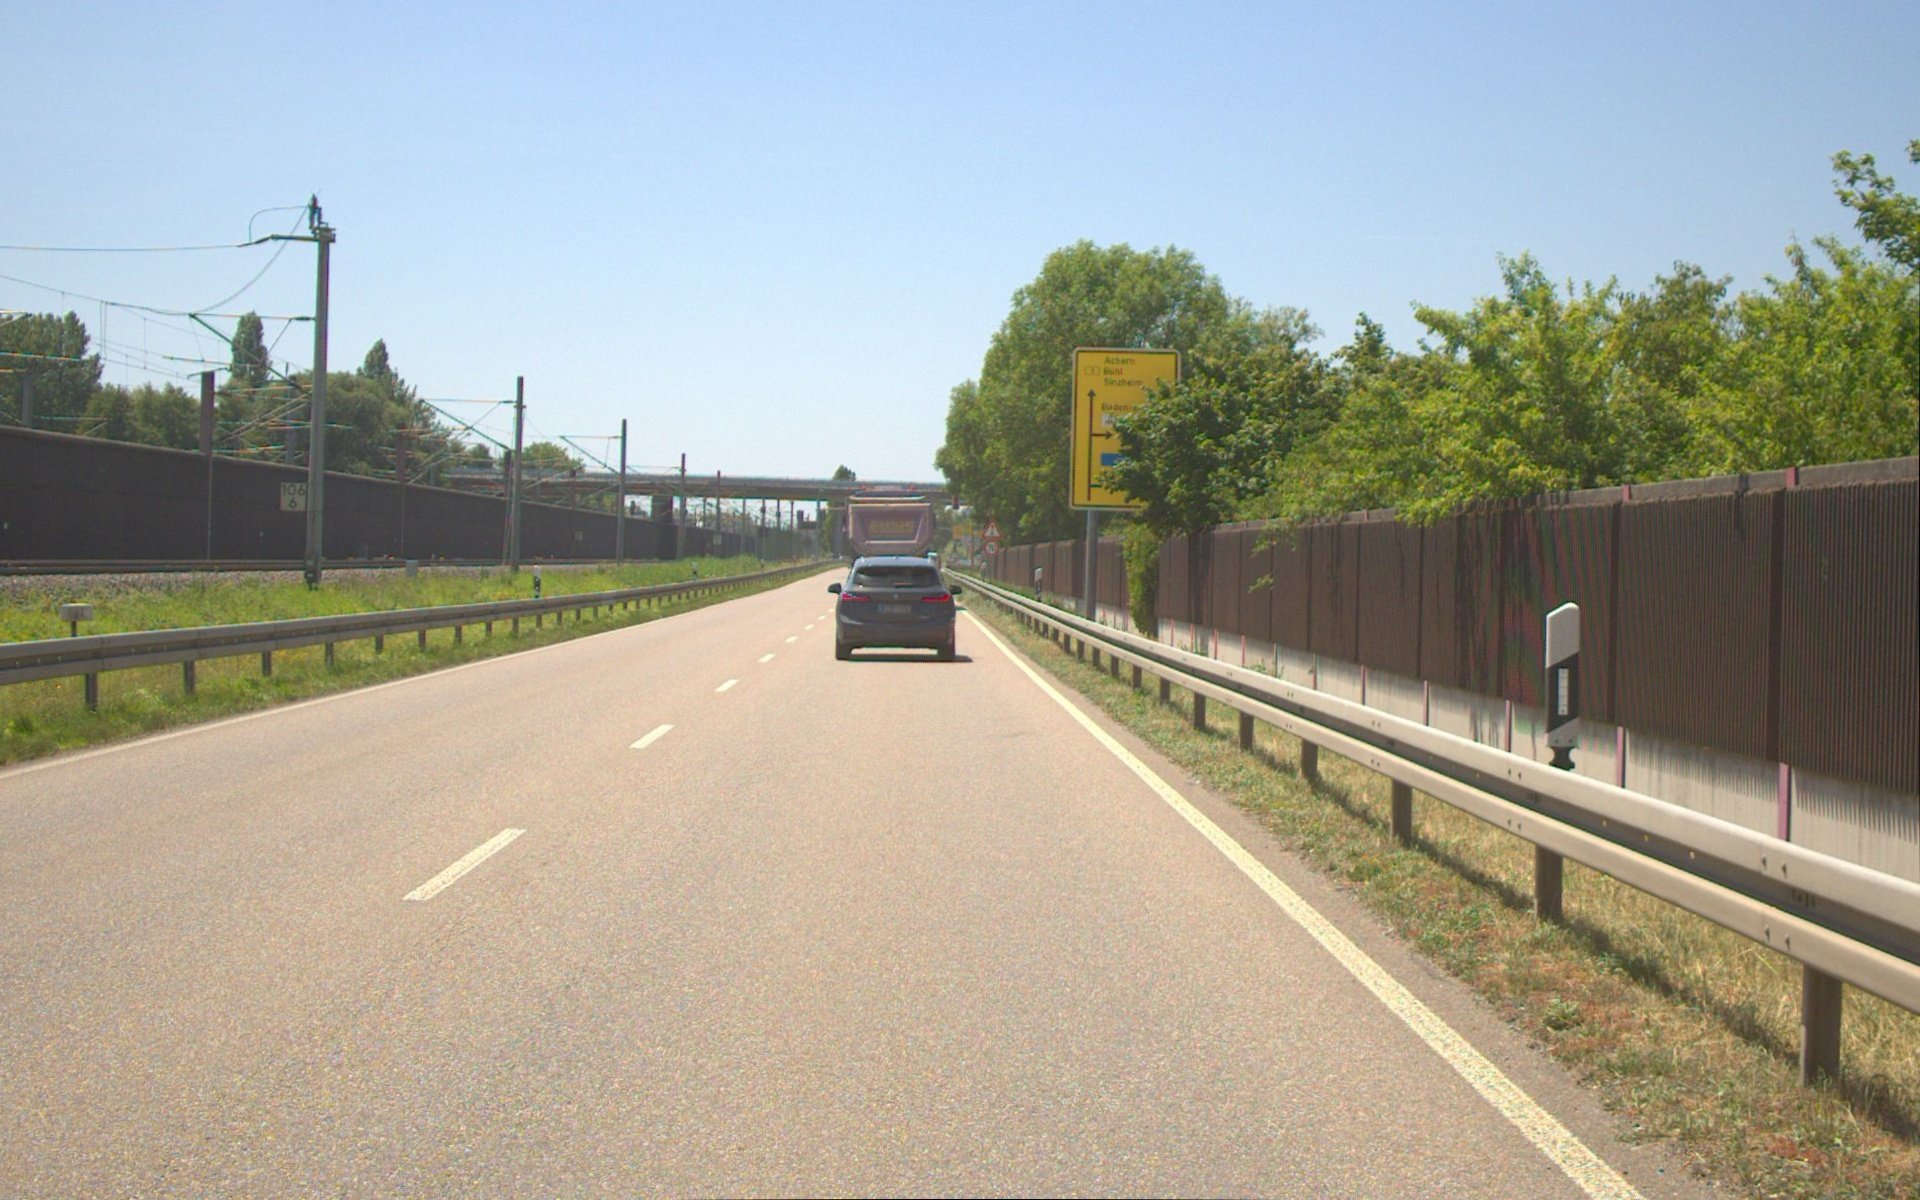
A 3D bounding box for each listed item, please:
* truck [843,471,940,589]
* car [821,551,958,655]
[{"bbox_3d":[-2.046,-2.100,104.810,2.770,3.413,10.820,0,1,-1],"label":"truck"},{"bbox_3d":[-1.118,0.018,52.717,1.993,1.503,4.001,0,1,-3],"label":"car"}]
